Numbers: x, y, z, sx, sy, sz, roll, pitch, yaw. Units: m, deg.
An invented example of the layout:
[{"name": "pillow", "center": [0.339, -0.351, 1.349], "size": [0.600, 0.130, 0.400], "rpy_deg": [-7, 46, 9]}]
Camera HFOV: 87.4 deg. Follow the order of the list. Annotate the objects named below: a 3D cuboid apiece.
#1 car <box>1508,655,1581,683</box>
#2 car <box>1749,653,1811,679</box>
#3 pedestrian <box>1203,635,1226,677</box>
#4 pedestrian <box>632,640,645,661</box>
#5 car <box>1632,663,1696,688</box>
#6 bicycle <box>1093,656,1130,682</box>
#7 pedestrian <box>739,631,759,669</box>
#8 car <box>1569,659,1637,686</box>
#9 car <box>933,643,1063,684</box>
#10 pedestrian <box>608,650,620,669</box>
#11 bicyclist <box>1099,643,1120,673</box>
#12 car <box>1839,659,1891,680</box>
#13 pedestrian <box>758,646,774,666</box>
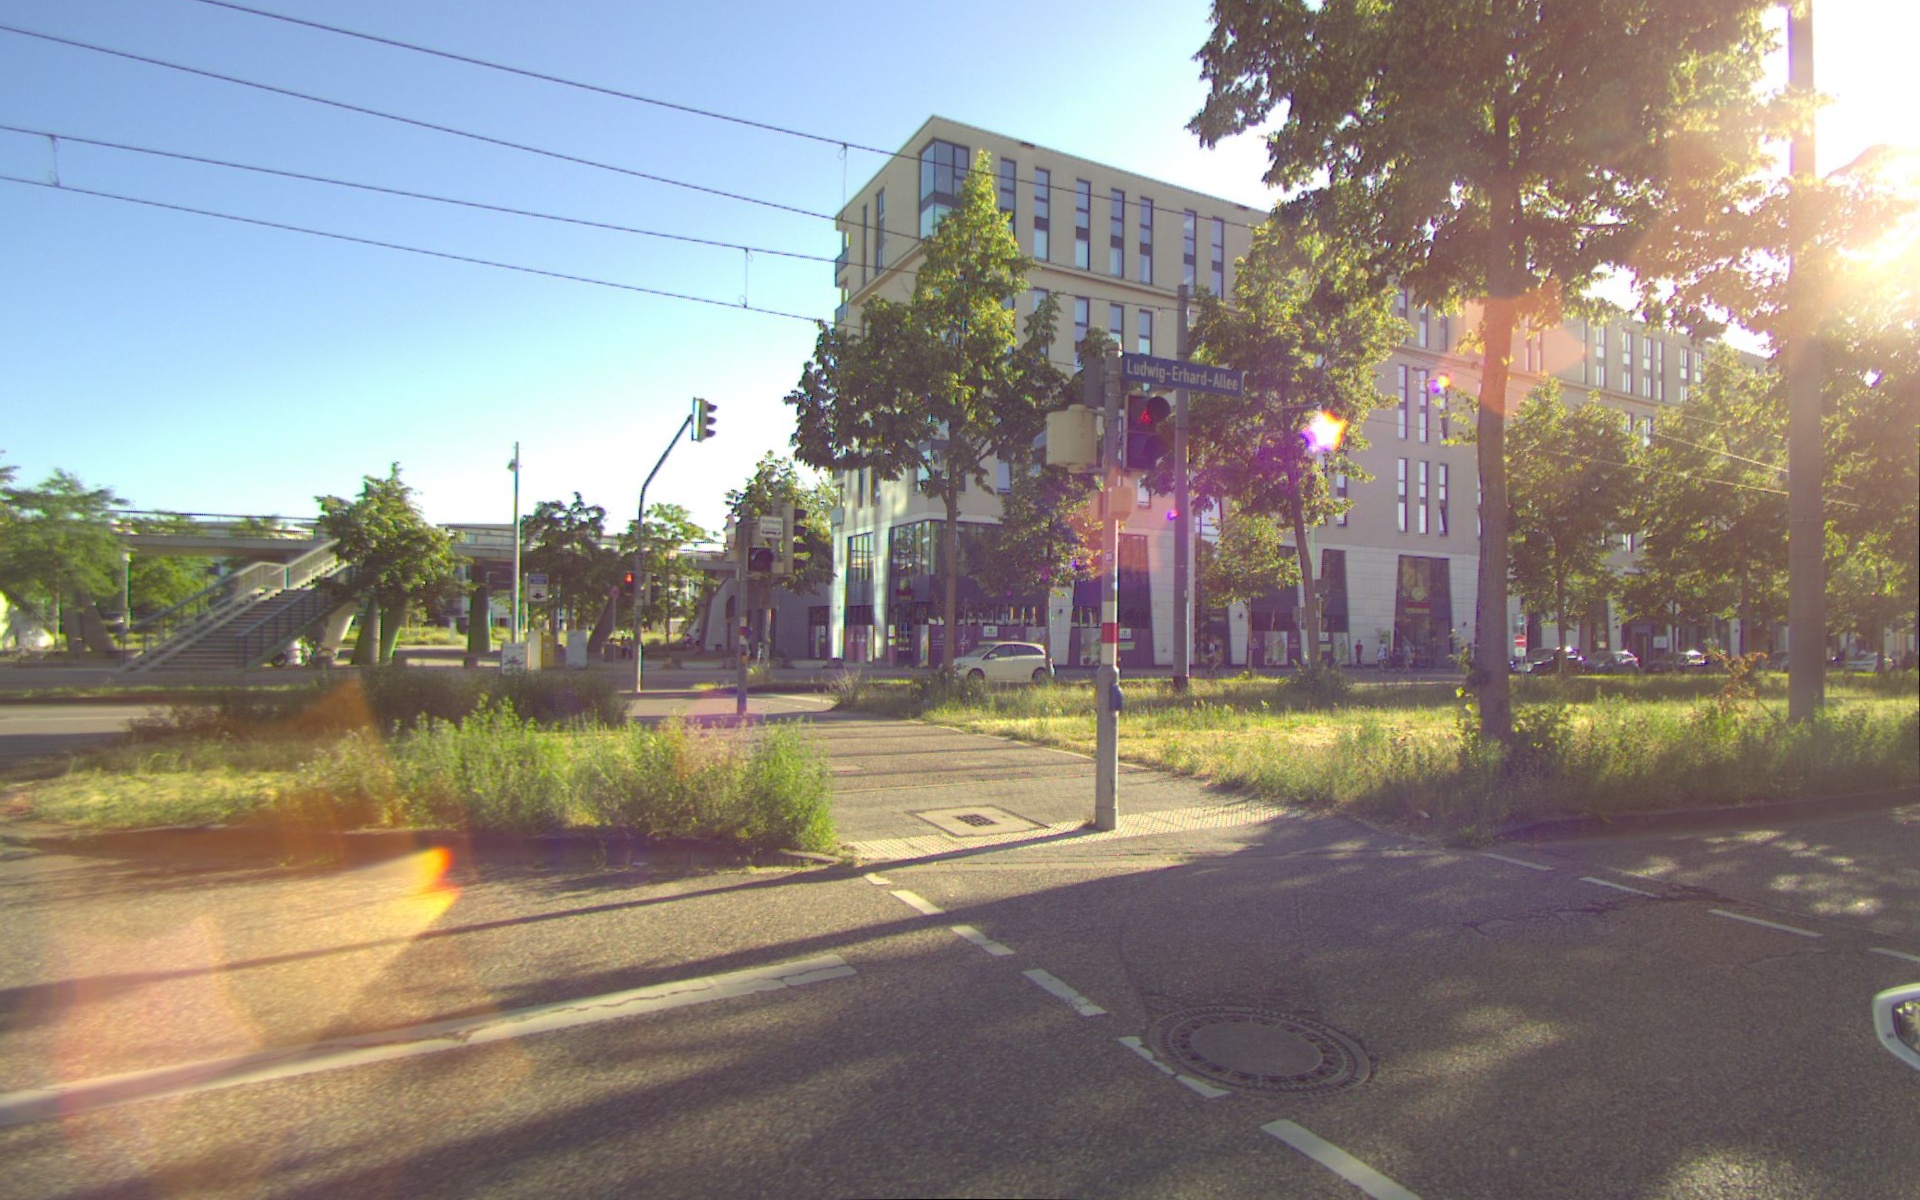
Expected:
[{"name": "car", "center": [29.758, 3.500, 51.128], "size": [3.667, 1.360, 1.573], "rpy_deg": [2, -2, -29]}, {"name": "car", "center": [51.615, 4.127, 63.229], "size": [3.759, 1.548, 1.769], "rpy_deg": [2, -2, -29]}, {"name": "pedestrian", "center": [11.346, 2.502, 44.855], "size": [0.791, 1.836, 0.575], "rpy_deg": [3, -1, -32]}, {"name": "pedestrian", "center": [-17.868, 2.800, 55.869], "size": [0.592, 1.140, 0.437], "rpy_deg": [2, -1, -26]}, {"name": "car", "center": [40.556, 4.329, 57.839], "size": [3.667, 1.360, 1.573], "rpy_deg": [2, -2, -29]}, {"name": "bicycle", "center": [6.752, 3.085, 44.774], "size": [1.618, 1.125, 0.526], "rpy_deg": [3, -1, -29]}, {"name": "pedestrian", "center": [-10.188, 2.423, 48.538], "size": [0.589, 1.794, 0.672], "rpy_deg": [1, -1, 26]}, {"name": "car", "center": [34.596, 3.902, 54.034], "size": [3.667, 1.360, 1.573], "rpy_deg": [2, -2, -29]}, {"name": "car", "center": [1.368, 2.261, 35.636], "size": [4.417, 1.360, 1.573], "rpy_deg": [2, -2, -29]}, {"name": "pedestrian", "center": [-20.517, 3.528, 59.537], "size": [0.592, 1.140, 0.437], "rpy_deg": [2, -1, -26]}, {"name": "bicyclist", "center": [6.648, 2.576, 44.755], "size": [0.696, 1.310, 0.576], "rpy_deg": [2, -1, -28]}, {"name": "car", "center": [62.640, 4.839, 69.515], "size": [3.667, 1.360, 1.573], "rpy_deg": [2, -2, -29]}, {"name": "pedestrian", "center": [-9.616, 2.773, 49.720], "size": [0.589, 0.932, 0.433], "rpy_deg": [1, -1, 26]}]
